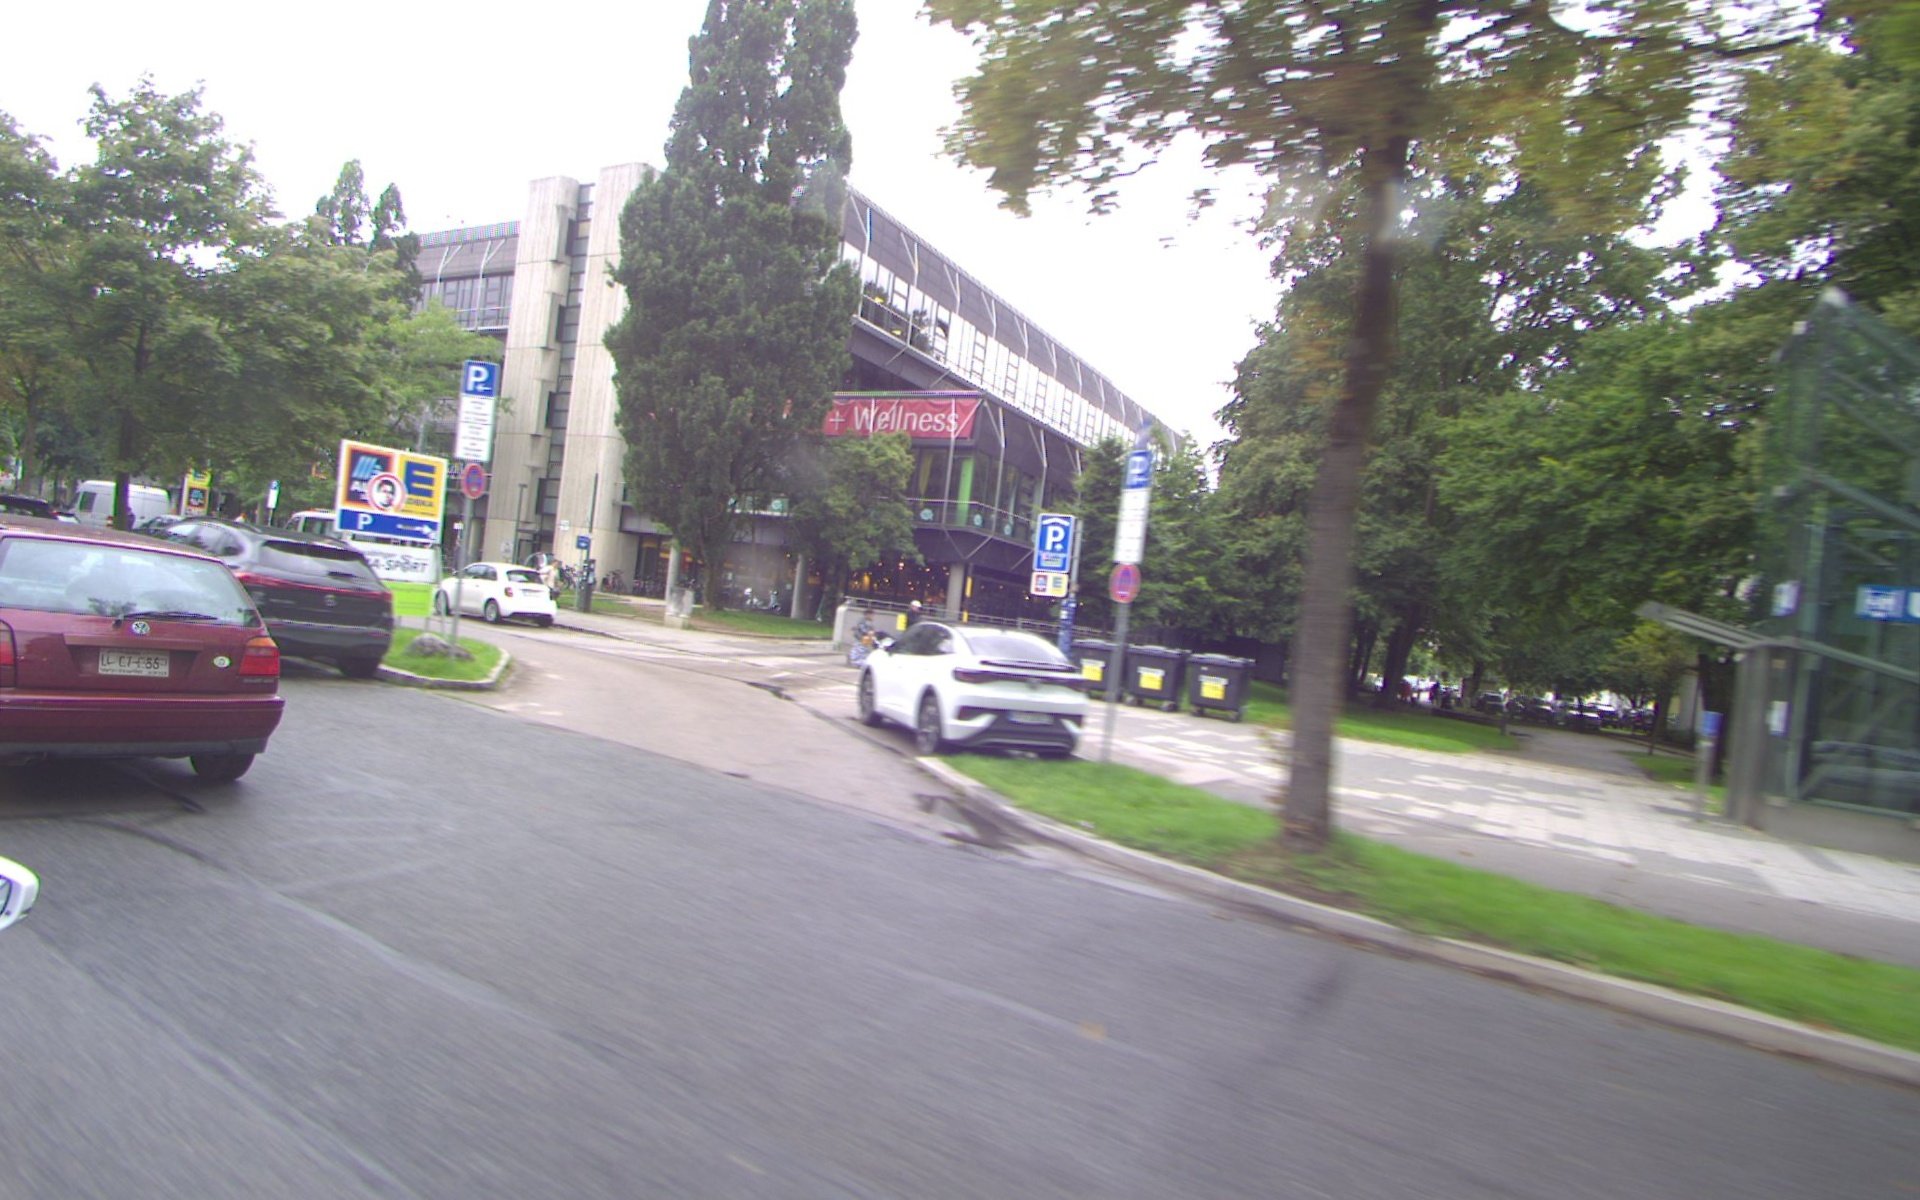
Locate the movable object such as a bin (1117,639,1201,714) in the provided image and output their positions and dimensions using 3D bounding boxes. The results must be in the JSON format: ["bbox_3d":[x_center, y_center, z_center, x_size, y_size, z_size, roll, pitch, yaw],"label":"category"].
[{"bbox_3d":[4.395,1.678,22.164,1.292,1.426,1.338,7,0,30],"label":"movable object such as a bin"}]

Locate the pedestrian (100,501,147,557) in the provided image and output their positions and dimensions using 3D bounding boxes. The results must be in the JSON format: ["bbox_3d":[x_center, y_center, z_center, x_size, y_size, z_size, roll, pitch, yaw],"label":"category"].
[{"bbox_3d":[-30.464,-2.586,36.636,0.888,1.872,0.877,7,-1,30],"label":"pedestrian"}]

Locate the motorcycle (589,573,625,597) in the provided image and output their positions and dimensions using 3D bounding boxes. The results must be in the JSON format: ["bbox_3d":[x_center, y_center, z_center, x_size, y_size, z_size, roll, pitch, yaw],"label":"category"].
[{"bbox_3d":[-16.398,-0.701,46.701,1.545,0.876,0.852,7,0,39],"label":"motorcycle"}]

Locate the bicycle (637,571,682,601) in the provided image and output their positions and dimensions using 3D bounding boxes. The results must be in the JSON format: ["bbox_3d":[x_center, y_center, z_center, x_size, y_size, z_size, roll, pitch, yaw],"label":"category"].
[{"bbox_3d":[-14.324,-0.649,48.078,0.577,1.219,2.141,7,-1,29],"label":"bicycle"}]

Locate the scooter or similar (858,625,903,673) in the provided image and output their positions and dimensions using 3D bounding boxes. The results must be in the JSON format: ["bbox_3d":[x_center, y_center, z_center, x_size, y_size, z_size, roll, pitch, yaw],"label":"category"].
[{"bbox_3d":[-1.877,1.157,23.684,0.819,1.032,0.500,7,2,32],"label":"scooter or similar"}]

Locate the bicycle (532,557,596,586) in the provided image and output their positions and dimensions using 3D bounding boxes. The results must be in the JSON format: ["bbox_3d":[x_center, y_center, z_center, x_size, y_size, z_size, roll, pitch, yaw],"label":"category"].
[{"bbox_3d":[-16.962,-1.214,43.157,2.366,0.880,0.769,8,0,-15],"label":"bicycle"}]

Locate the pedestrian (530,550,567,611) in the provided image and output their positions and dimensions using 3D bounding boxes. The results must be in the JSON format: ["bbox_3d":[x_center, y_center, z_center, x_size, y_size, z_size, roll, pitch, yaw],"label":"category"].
[{"bbox_3d":[-12.566,-0.597,30.732,0.720,1.772,0.575,7,0,36],"label":"pedestrian"}]

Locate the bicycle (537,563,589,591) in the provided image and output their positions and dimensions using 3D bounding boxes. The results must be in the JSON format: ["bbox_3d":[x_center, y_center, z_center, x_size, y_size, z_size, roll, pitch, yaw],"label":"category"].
[{"bbox_3d":[-17.481,-1.003,44.300,2.020,0.969,0.743,8,0,-22],"label":"bicycle"}]

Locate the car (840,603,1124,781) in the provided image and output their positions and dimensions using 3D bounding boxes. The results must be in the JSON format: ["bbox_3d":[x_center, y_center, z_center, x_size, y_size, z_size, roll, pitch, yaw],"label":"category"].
[{"bbox_3d":[0.016,1.047,13.277,1.947,1.644,4.825,8,-2,-20],"label":"car"}]

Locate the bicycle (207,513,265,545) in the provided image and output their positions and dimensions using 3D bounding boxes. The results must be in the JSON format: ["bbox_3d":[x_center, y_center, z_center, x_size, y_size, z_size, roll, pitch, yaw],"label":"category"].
[{"bbox_3d":[-42.921,-4.191,59.707,0.784,1.526,2.617,7,-1,25],"label":"bicycle"}]

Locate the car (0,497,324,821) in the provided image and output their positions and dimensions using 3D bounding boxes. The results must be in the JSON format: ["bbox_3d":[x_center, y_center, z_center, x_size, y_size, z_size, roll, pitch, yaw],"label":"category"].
[{"bbox_3d":[-5.746,0.126,6.007,3.884,1.471,1.625,7,-1,31],"label":"car"}]

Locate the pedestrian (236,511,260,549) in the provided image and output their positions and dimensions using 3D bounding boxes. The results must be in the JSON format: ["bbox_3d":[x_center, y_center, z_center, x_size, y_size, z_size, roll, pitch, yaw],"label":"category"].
[{"bbox_3d":[-36.779,-3.610,51.954,0.533,1.852,0.678,7,0,20],"label":"pedestrian"}]

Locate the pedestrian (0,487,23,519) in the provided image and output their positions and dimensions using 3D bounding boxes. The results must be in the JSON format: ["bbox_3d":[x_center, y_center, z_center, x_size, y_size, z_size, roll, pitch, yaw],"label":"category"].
[{"bbox_3d":[-55.561,-5.668,58.884,0.690,1.727,0.748,7,0,32],"label":"pedestrian"}]

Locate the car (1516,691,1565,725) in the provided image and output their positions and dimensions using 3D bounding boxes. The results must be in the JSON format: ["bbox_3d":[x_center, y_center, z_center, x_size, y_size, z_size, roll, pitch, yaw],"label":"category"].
[{"bbox_3d":[34.995,6.467,60.733,1.964,1.613,4.456,7,-1,24],"label":"car"}]

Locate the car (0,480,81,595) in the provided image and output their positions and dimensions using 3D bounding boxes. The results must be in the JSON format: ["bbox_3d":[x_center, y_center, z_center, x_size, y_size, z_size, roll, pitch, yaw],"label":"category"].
[{"bbox_3d":[-17.097,-1.251,17.169,4.741,1.721,1.764,7,-1,32],"label":"car"}]

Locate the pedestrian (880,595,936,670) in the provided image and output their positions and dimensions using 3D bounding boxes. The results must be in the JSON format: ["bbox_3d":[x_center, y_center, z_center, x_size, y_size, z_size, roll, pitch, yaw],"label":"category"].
[{"bbox_3d":[-1.278,0.813,24.966,0.924,1.744,0.828,7,2,32],"label":"pedestrian"}]

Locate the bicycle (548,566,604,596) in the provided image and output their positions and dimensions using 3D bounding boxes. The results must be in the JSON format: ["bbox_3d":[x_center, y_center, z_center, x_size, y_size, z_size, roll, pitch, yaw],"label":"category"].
[{"bbox_3d":[-16.093,-0.780,42.211,2.016,0.969,0.744,7,0,-15],"label":"bicycle"}]

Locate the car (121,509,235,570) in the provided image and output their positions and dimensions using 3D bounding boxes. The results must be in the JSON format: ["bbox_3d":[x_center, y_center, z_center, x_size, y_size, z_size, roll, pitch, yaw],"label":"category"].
[{"bbox_3d":[-27.822,-2.167,35.785,3.941,1.684,1.751,7,-1,30],"label":"car"}]

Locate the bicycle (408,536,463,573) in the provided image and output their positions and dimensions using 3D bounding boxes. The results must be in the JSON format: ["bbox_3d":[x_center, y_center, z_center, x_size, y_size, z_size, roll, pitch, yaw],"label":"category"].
[{"bbox_3d":[-25.600,-2.202,49.144,0.783,1.526,2.620,7,-1,10],"label":"bicycle"}]

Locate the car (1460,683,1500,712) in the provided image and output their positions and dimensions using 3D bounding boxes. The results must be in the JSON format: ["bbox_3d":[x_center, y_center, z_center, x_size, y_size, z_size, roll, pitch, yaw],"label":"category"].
[{"bbox_3d":[35.036,6.524,67.885,1.964,1.613,4.456,7,-1,24],"label":"car"}]

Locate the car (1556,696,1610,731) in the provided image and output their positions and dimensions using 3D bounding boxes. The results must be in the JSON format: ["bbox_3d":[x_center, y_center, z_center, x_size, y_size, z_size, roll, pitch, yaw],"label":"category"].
[{"bbox_3d":[36.997,6.727,59.867,1.964,1.613,4.456,7,-1,24],"label":"car"}]

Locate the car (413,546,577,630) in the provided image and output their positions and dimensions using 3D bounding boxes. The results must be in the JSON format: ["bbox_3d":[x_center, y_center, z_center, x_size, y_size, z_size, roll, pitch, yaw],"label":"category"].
[{"bbox_3d":[-12.354,-0.323,26.687,3.934,1.671,1.996,7,0,32],"label":"car"}]

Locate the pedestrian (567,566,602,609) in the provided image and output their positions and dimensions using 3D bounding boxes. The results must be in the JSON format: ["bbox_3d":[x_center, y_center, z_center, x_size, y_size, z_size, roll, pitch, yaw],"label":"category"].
[{"bbox_3d":[-12.156,-0.410,32.562,0.687,1.308,0.731,6,2,36],"label":"pedestrian"}]

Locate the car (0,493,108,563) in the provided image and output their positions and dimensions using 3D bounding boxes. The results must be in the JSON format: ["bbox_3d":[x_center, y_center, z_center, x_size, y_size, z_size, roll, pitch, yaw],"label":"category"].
[{"bbox_3d":[-25.076,-2.019,27.241,3.941,1.496,1.751,7,-1,30],"label":"car"}]

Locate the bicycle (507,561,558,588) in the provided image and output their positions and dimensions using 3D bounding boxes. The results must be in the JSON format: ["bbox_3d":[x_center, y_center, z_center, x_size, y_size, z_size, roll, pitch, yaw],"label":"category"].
[{"bbox_3d":[-19.472,-1.150,45.877,0.734,0.969,2.044,7,-1,30],"label":"bicycle"}]

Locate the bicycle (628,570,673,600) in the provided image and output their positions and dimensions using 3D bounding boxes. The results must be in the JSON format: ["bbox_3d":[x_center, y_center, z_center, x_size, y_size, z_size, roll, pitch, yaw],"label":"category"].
[{"bbox_3d":[-14.846,-0.713,48.376,0.577,1.219,2.141,7,-1,29],"label":"bicycle"}]

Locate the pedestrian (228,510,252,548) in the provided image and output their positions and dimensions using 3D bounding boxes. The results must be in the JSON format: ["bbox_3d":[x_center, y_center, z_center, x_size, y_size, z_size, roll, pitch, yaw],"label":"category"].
[{"bbox_3d":[-36.705,-3.609,51.270,0.668,1.852,0.559,7,0,21],"label":"pedestrian"}]

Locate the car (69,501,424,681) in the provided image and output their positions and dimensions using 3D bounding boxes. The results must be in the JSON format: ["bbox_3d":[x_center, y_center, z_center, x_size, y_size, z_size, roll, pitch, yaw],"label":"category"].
[{"bbox_3d":[-8.706,-0.141,12.192,4.377,1.608,1.765,7,-1,31],"label":"car"}]

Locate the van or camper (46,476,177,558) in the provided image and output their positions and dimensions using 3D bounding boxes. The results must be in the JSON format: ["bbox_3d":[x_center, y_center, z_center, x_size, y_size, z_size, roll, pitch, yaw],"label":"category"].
[{"bbox_3d":[-33.044,-3.263,39.128,5.858,2.589,2.026,7,0,32],"label":"van or camper"}]

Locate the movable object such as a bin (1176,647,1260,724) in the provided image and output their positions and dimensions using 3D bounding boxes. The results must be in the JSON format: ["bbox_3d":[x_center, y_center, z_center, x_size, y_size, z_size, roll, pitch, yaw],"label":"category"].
[{"bbox_3d":[5.520,1.814,21.477,1.292,1.426,1.338,7,0,30],"label":"movable object such as a bin"}]

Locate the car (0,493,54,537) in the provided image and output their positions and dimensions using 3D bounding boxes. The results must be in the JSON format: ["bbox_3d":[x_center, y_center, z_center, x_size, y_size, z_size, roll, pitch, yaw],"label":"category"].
[{"bbox_3d":[-42.706,-3.927,45.117,4.422,1.652,1.687,7,-1,30],"label":"car"}]

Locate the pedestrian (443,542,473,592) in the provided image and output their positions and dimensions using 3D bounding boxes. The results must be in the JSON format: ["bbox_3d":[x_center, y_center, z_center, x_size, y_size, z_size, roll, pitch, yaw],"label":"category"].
[{"bbox_3d":[-18.543,-1.220,37.165,0.720,1.772,0.575,7,0,36],"label":"pedestrian"}]

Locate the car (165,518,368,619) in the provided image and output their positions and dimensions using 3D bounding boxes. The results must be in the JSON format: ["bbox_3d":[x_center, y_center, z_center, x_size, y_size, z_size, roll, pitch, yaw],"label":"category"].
[{"bbox_3d":[-14.361,-0.657,20.803,3.931,1.505,1.768,7,-2,29],"label":"car"}]

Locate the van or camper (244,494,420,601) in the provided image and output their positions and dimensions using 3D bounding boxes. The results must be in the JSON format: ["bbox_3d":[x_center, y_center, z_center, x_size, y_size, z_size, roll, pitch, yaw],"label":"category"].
[{"bbox_3d":[-19.166,-1.644,30.586,5.858,2.589,1.996,7,0,32],"label":"van or camper"}]

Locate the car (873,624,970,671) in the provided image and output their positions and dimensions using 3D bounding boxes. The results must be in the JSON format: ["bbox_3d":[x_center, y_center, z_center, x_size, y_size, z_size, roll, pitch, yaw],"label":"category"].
[{"bbox_3d":[-1.187,1.566,32.635,1.534,1.165,3.449,7,-2,28],"label":"car"}]

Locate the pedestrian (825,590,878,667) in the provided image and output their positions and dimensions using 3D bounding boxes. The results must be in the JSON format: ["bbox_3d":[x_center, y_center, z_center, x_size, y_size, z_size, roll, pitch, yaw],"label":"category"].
[{"bbox_3d":[-2.617,0.692,24.225,0.971,1.744,0.539,7,2,32],"label":"pedestrian"}]

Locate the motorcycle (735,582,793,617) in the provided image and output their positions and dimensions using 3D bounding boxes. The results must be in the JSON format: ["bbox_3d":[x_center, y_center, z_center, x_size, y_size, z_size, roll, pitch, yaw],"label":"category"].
[{"bbox_3d":[-8.709,-0.026,44.628,2.335,1.245,0.870,7,2,25],"label":"motorcycle"}]

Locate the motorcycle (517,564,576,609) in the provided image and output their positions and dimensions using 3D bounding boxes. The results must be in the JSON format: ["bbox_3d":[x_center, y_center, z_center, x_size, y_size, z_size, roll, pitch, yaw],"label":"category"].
[{"bbox_3d":[-13.720,-0.447,33.368,2.032,1.309,0.695,7,4,32],"label":"motorcycle"}]

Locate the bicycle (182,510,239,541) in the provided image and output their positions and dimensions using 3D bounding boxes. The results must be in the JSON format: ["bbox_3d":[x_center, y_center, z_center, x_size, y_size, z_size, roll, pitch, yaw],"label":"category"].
[{"bbox_3d":[-46.143,-4.580,61.966,0.784,1.526,2.617,7,-1,25],"label":"bicycle"}]

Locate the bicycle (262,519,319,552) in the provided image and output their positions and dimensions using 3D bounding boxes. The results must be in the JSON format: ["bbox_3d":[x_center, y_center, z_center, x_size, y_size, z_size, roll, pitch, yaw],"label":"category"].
[{"bbox_3d":[-38.492,-3.687,57.889,0.784,1.526,2.617,7,-1,25],"label":"bicycle"}]

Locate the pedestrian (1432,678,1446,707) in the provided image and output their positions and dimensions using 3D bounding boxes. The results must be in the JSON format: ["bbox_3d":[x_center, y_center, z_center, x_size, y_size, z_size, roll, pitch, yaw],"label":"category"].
[{"bbox_3d":[31.423,6.034,65.968,0.594,1.816,0.612,7,0,25],"label":"pedestrian"}]

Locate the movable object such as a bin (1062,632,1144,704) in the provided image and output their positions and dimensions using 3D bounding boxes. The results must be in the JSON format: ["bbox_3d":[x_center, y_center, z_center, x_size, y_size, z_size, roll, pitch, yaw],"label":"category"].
[{"bbox_3d":[3.264,1.542,22.846,1.292,1.426,1.338,7,0,30],"label":"movable object such as a bin"}]

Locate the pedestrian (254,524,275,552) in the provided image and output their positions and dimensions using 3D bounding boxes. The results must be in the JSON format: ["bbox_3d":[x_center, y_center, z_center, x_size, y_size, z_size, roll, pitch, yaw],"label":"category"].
[{"bbox_3d":[-35.767,-3.164,51.750,0.541,1.330,0.559,7,0,21],"label":"pedestrian"}]

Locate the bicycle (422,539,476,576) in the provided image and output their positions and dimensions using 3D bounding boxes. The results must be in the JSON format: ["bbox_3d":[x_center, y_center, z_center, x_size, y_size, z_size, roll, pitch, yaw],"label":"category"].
[{"bbox_3d":[-24.747,-2.050,48.776,0.783,1.526,2.620,7,-1,10],"label":"bicycle"}]

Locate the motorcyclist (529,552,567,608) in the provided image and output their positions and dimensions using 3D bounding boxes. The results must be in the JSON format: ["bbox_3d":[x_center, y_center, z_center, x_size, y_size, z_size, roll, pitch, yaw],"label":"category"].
[{"bbox_3d":[-13.639,-0.675,33.303,0.937,1.762,0.690,7,5,32],"label":"motorcyclist"}]
